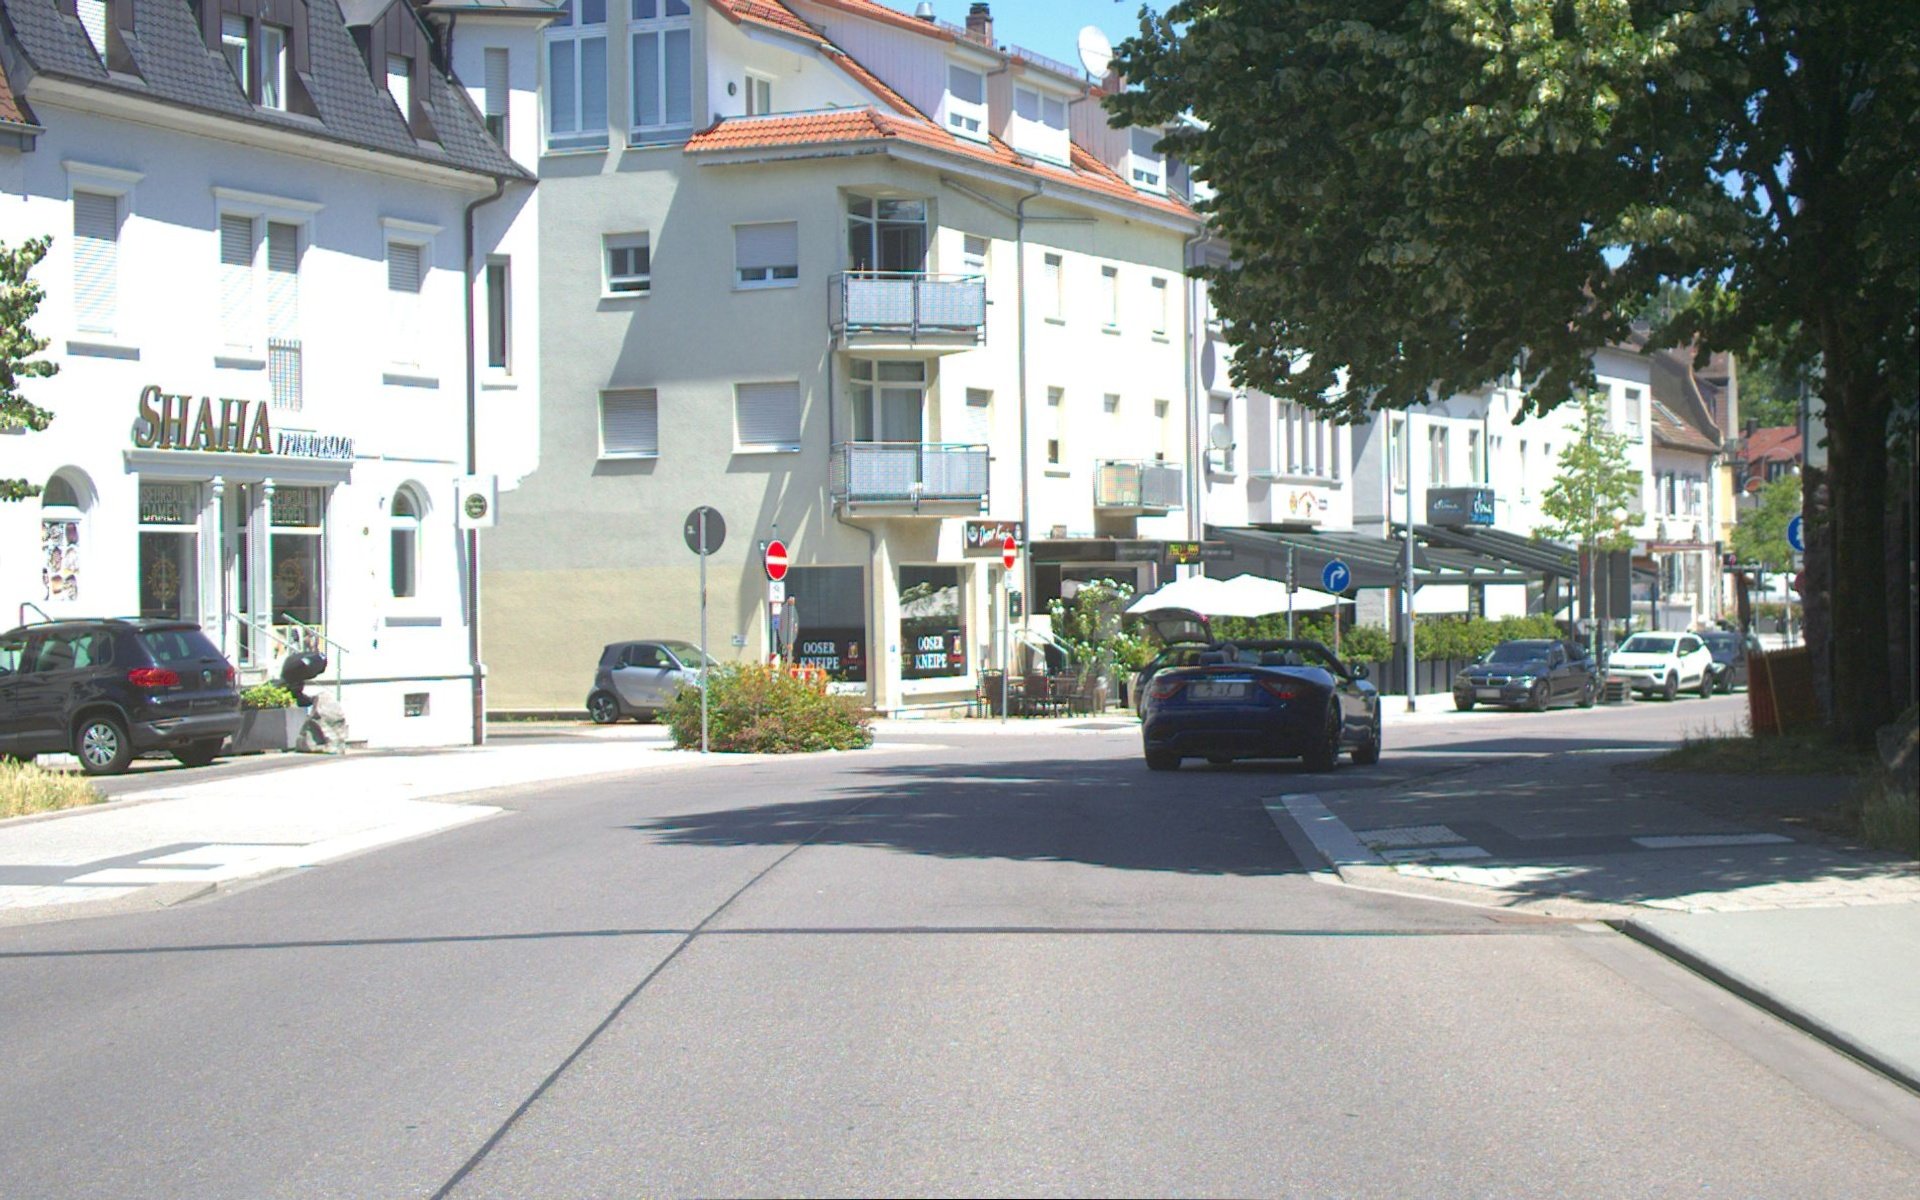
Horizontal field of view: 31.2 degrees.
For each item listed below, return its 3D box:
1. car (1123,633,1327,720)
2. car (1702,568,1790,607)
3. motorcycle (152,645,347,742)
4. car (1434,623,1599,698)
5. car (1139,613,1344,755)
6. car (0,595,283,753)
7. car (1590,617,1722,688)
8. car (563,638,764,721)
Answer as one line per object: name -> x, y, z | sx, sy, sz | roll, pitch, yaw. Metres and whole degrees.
car -> 4.823, 1.372, 62.103 | 1.716, 1.455, 4.121 | 2, 0, 36
car -> 43.271, -0.672, 189.291 | 4.257, 2.007, 2.000 | 1, -3, -17
motorcycle -> -9.062, 1.190, 43.832 | 2.398, 1.213, 0.832 | -1, -2, 24
car -> 11.509, 1.223, 70.841 | 1.837, 1.425, 4.775 | 1, 0, 29
car -> 2.973, 0.821, 35.507 | 1.871, 1.337, 4.594 | 0, 0, 8
car -> -9.769, 0.814, 37.732 | 4.185, 1.656, 1.968 | -1, -1, 22
car -> 15.674, 1.153, 77.335 | 1.648, 1.474, 3.934 | 1, 1, 31
car -> -5.481, 1.469, 63.631 | 3.266, 1.453, 1.690 | -1, 0, 22
